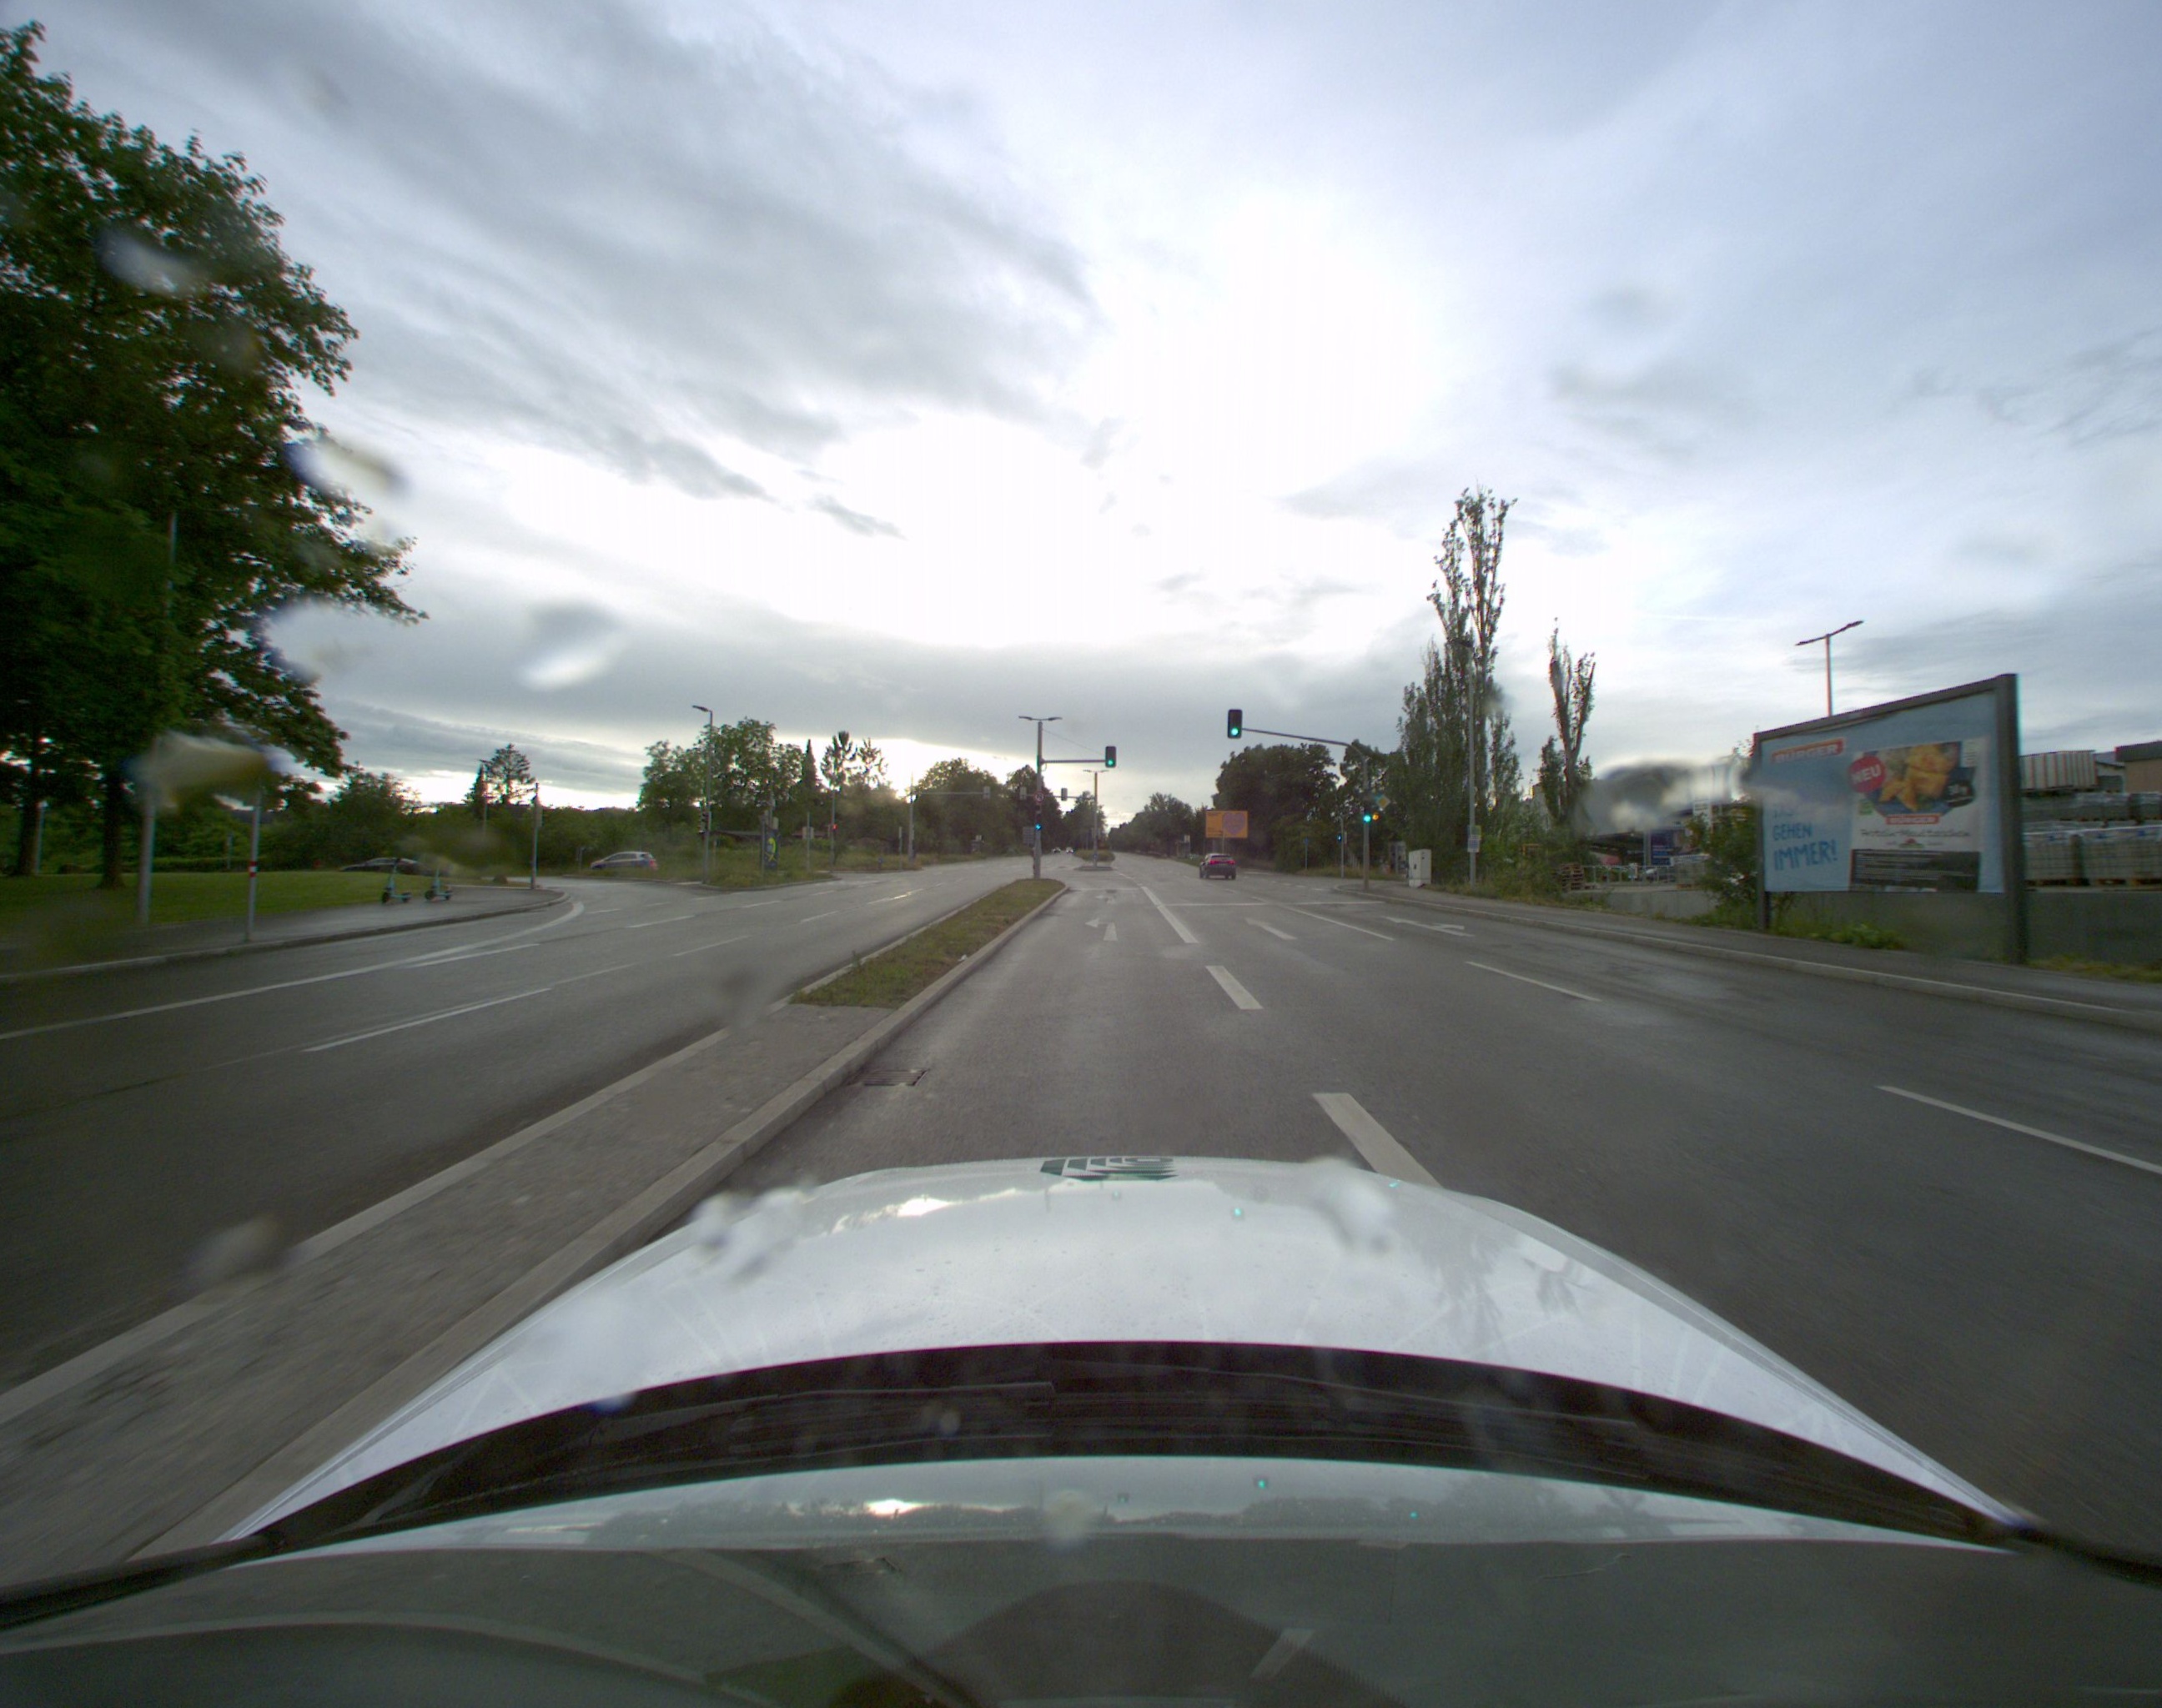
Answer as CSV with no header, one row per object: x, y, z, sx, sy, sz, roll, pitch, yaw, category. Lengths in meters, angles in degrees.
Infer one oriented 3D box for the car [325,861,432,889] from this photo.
-44.152,1.331,51.292,4.639,1.583,2.170,2,-2,-4,car

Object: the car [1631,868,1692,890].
45.454,1.950,63.769,3.861,1.564,1.515,1,0,-6,car

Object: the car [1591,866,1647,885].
45.696,1.819,69.199,3.861,1.564,1.515,1,0,-6,car

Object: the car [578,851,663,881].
-29.583,0.768,52.410,4.169,1.719,2.083,2,-2,1,car

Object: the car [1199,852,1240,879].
8.049,0.652,47.624,1.738,1.470,4.167,1,0,1,car

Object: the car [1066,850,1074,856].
-2.824,-0.337,214.178,1.887,1.534,4.490,1,0,1,car

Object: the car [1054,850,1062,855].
-6.451,-0.427,230.301,1.887,1.596,4.490,1,0,1,car

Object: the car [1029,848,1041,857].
-8.423,-0.339,149.937,1.762,1.596,4.490,1,0,1,car

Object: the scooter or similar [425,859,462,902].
-18.612,0.756,23.793,0.311,1.218,1.302,1,0,-12,scooter or similar

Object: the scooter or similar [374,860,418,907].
-18.567,0.772,22.098,0.311,1.218,1.302,1,0,-12,scooter or similar

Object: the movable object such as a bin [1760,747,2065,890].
21.561,-0.830,21.576,2.299,3.276,5.414,1,0,-6,movable object such as a bin
